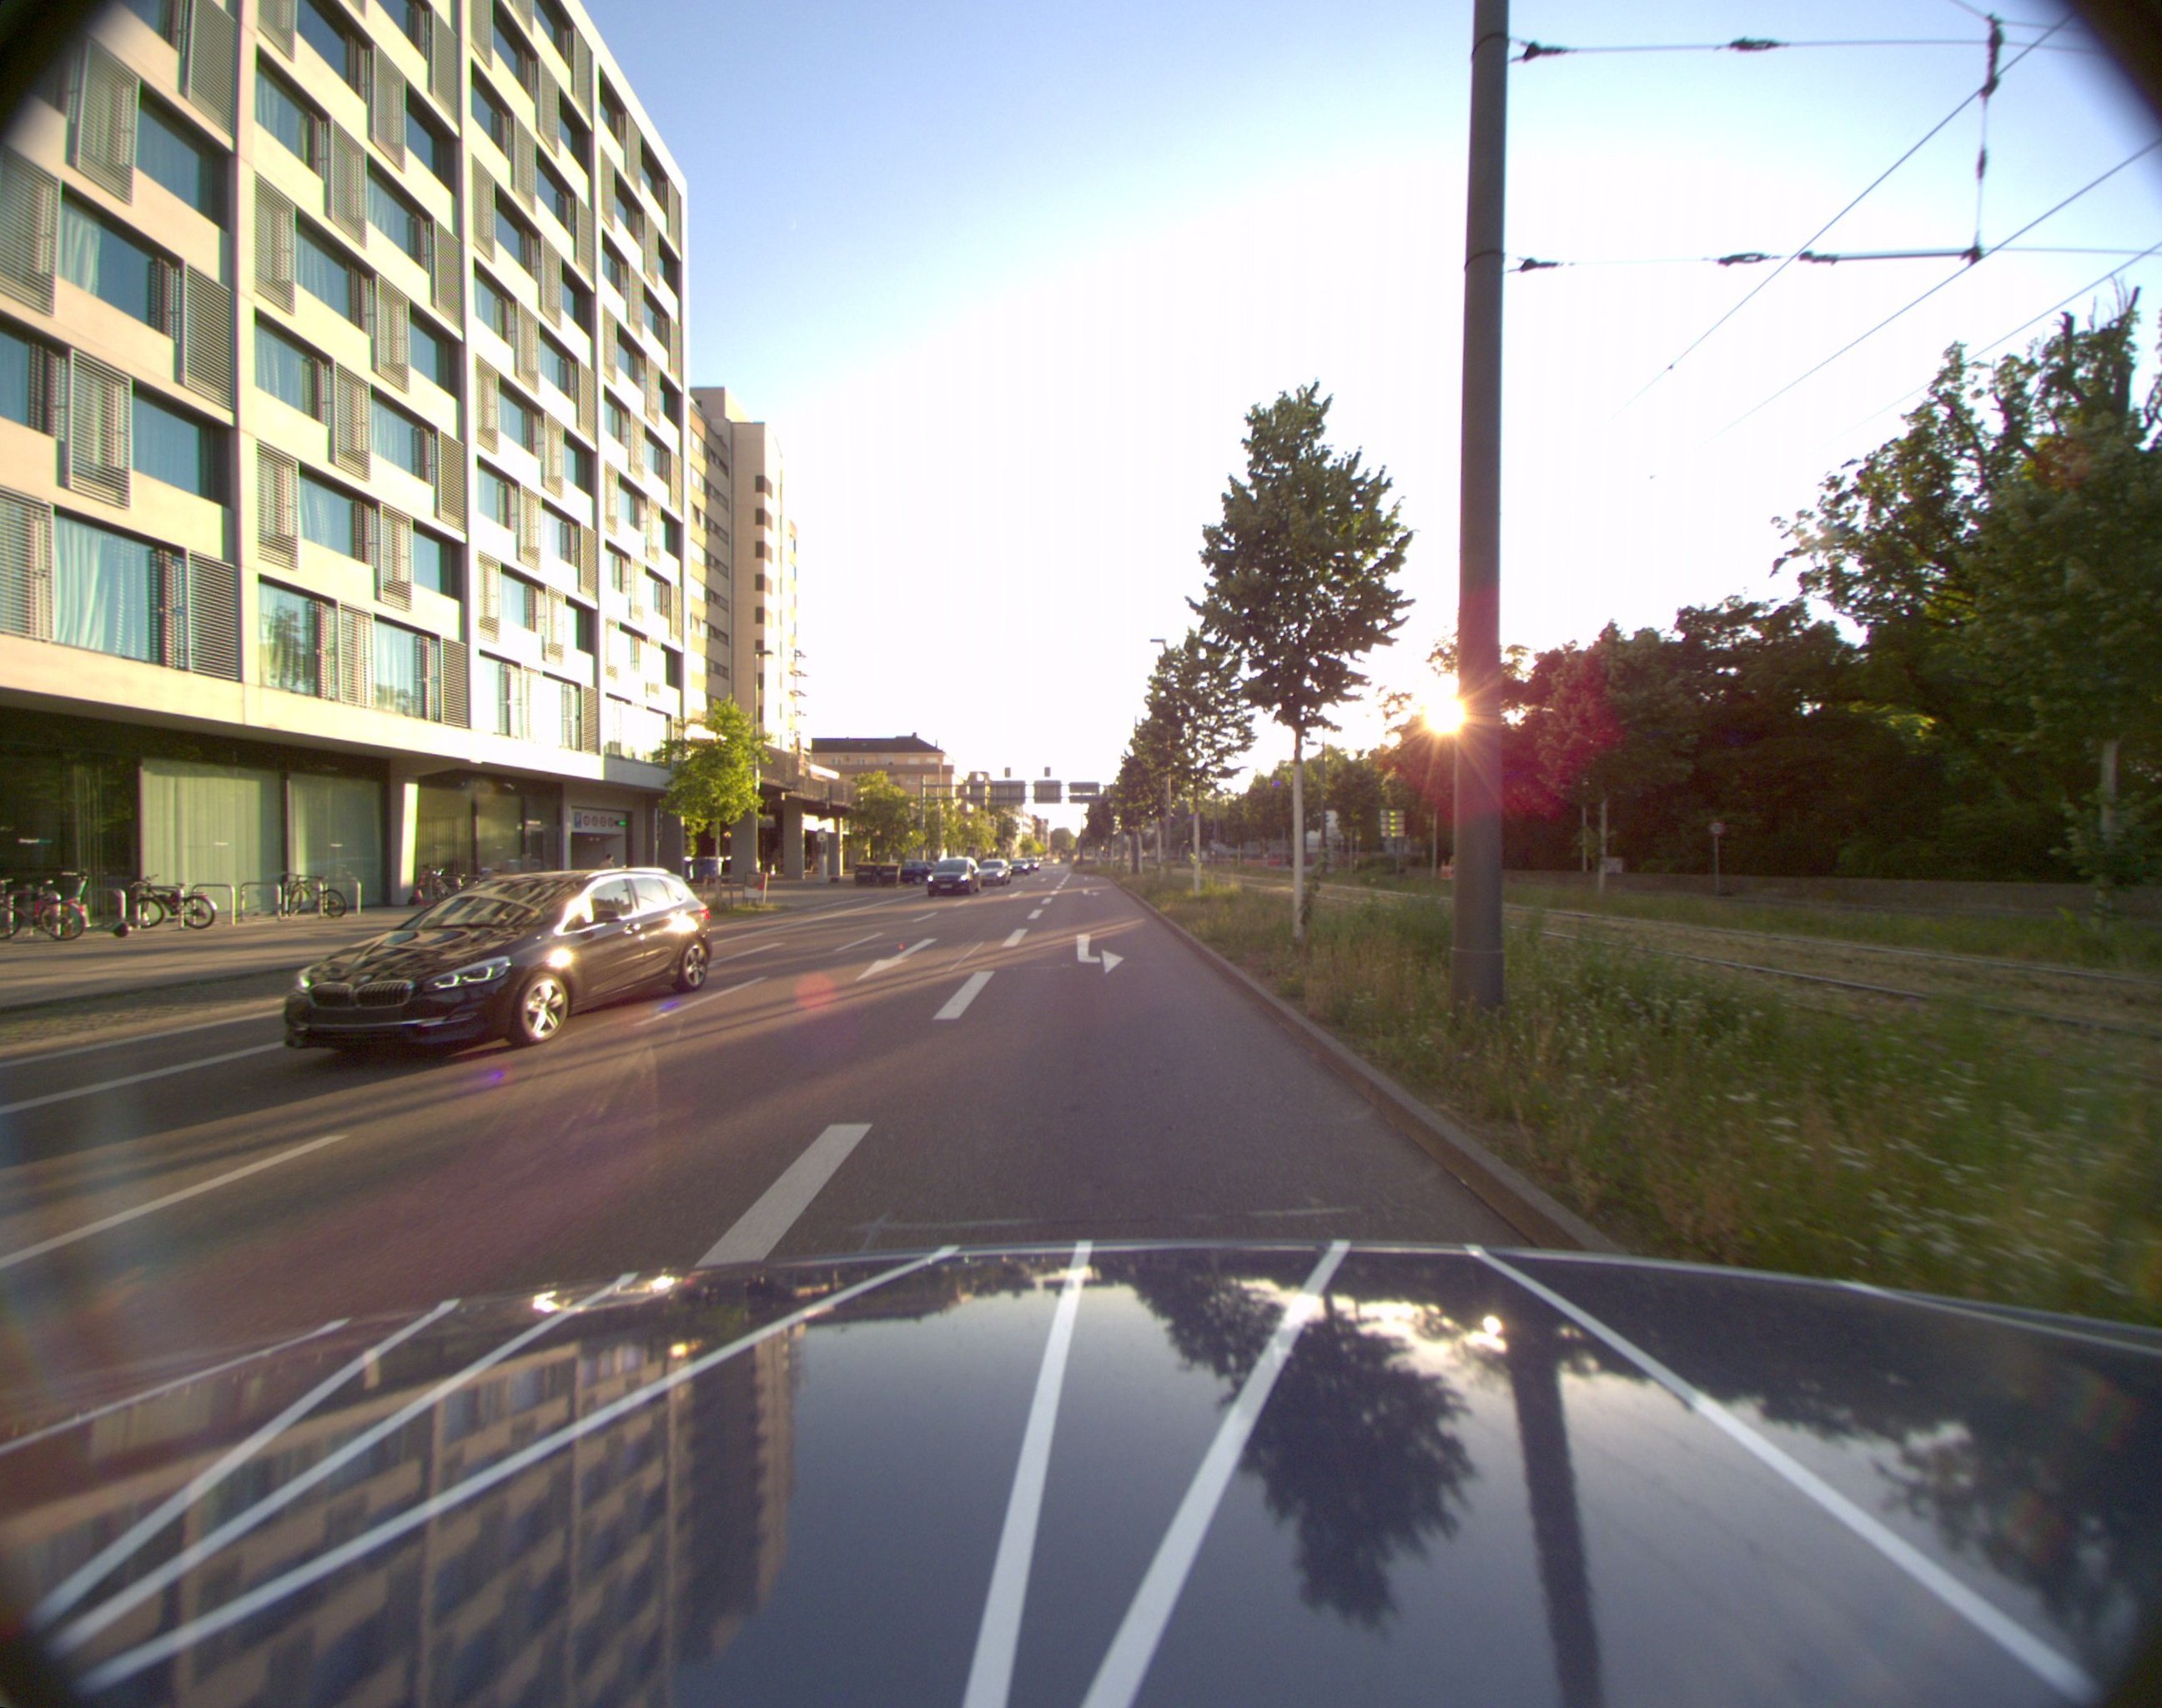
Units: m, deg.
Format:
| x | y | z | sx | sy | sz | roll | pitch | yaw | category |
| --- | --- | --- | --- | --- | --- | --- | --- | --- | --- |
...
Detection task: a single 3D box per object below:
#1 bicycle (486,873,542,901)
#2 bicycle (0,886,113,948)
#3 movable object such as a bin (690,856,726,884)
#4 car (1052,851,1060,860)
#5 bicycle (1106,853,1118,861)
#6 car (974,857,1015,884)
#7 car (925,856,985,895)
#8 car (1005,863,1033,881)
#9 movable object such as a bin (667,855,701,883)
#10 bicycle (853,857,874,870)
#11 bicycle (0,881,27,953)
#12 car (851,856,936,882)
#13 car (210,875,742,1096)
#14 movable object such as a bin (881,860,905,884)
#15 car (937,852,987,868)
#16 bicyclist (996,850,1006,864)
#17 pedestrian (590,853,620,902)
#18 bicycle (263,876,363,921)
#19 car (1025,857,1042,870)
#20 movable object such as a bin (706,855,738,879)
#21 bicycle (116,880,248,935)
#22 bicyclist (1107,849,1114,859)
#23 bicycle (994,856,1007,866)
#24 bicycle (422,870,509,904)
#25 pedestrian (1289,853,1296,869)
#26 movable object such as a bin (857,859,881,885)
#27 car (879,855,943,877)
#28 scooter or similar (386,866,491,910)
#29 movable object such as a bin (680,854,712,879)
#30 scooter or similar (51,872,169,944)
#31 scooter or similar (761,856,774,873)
| x | y | z | sx | sy | sz | roll | pitch | yaw | category |
| --- | --- | --- | --- | --- | --- | --- | --- | --- | --- |
| -18.138 | 1.048 | 24.311 | 1.425 | 0.886 | 0.457 | 0 | 0 | -1 | bicycle |
| -17.947 | 1.081 | 13.101 | 1.704 | 0.980 | 0.551 | 2 | 0 | -3 | bicycle |
| -18.283 | 0.767 | 37.253 | 1.107 | 1.322 | 1.283 | 2 | 0 | -1 | movable object such as a bin |
| -5.944 | 0.367 | 183.211 | 1.727 | 1.910 | 4.293 | -2 | 0 | -4 | car |
| 4.892 | 0.438 | 120.386 | 1.896 | 1.127 | 0.717 | -2 | 0 | 4 | bicycle |
| -4.980 | 0.921 | 44.294 | 1.833 | 1.455 | 4.303 | -2 | 0 | -1 | car |
| -5.497 | 0.900 | 33.722 | 1.827 | 1.589 | 4.367 | -2 | 0 | 1 | car |
| -5.457 | 1.572 | 67.485 | 1.915 | 1.387 | 4.277 | -2 | 0 | 2 | car |
| -19.418 | 0.731 | 37.191 | 1.076 | 1.322 | 1.202 | 1 | 0 | -1 | movable object such as a bin |
| -17.971 | 0.806 | 62.905 | 1.576 | 1.042 | 0.433 | 2 | 0 | -1 | bicycle |
| -18.141 | 0.997 | 12.078 | 1.612 | 1.148 | 0.611 | 2 | 0 | -12 | bicycle |
| -11.613 | 0.935 | 47.178 | 4.679 | 1.499 | 1.934 | 2 | 1 | -39 | car |
| -5.676 | 1.067 | 8.181 | 1.825 | 1.510 | 4.791 | -2 | 0 | 0 | car |
| -10.454 | 1.004 | 42.334 | 1.088 | 1.294 | 1.360 | 2 | 0 | -6 | movable object such as a bin |
| -11.775 | 0.570 | 75.382 | 4.617 | 1.444 | 1.808 | 2 | 0 | -41 | car |
| -9.683 | 0.408 | 91.964 | 0.821 | 1.682 | 0.959 | 1 | 1 | -28 | bicyclist |
| -16.129 | 0.781 | 25.765 | 0.578 | 1.609 | 0.643 | 2 | 0 | -3 | pedestrian |
| -17.974 | 1.041 | 17.807 | 1.704 | 0.980 | 0.551 | 2 | 0 | -3 | bicycle |
| -5.350 | 1.015 | 85.315 | 1.863 | 1.387 | 4.275 | -2 | 0 | -3 | car |
| -19.615 | 0.681 | 41.542 | 1.185 | 1.291 | 1.304 | 0 | 0 | -1 | movable object such as a bin |
| -17.955 | 1.062 | 15.199 | 1.890 | 1.004 | 0.565 | 2 | 1 | -2 | bicycle |
| 4.646 | 0.026 | 120.399 | 0.943 | 1.611 | 0.717 | -2 | 0 | 4 | bicyclist |
| -9.789 | 0.816 | 92.157 | 0.821 | 1.166 | 2.143 | 1 | 0 | -28 | bicycle |
| -18.495 | 0.995 | 22.855 | 2.022 | 0.952 | 0.620 | 1 | 0 | -6 | bicycle |
| 21.696 | 0.751 | 77.958 | 0.670 | 1.597 | 0.679 | -2 | -4 | 14 | pedestrian |
| -11.796 | 0.989 | 42.240 | 1.017 | 1.339 | 1.160 | 2 | 0 | -5 | movable object such as a bin |
| -11.954 | 0.871 | 53.514 | 3.999 | 1.408 | 1.746 | 2 | 0 | -38 | car |
| -17.975 | 0.944 | 21.268 | 2.378 | 1.176 | 0.620 | 1 | 0 | -1 | scooter or similar |
| -20.962 | 0.668 | 41.439 | 1.185 | 1.305 | 1.124 | 0 | 0 | -1 | movable object such as a bin |
| -17.530 | 0.963 | 13.737 | 1.271 | 1.226 | 0.608 | 2 | 0 | -4 | scooter or similar |
| -22.299 | 0.726 | 53.978 | 0.402 | 1.154 | 1.829 | -2 | 0 | -9 | scooter or similar |
